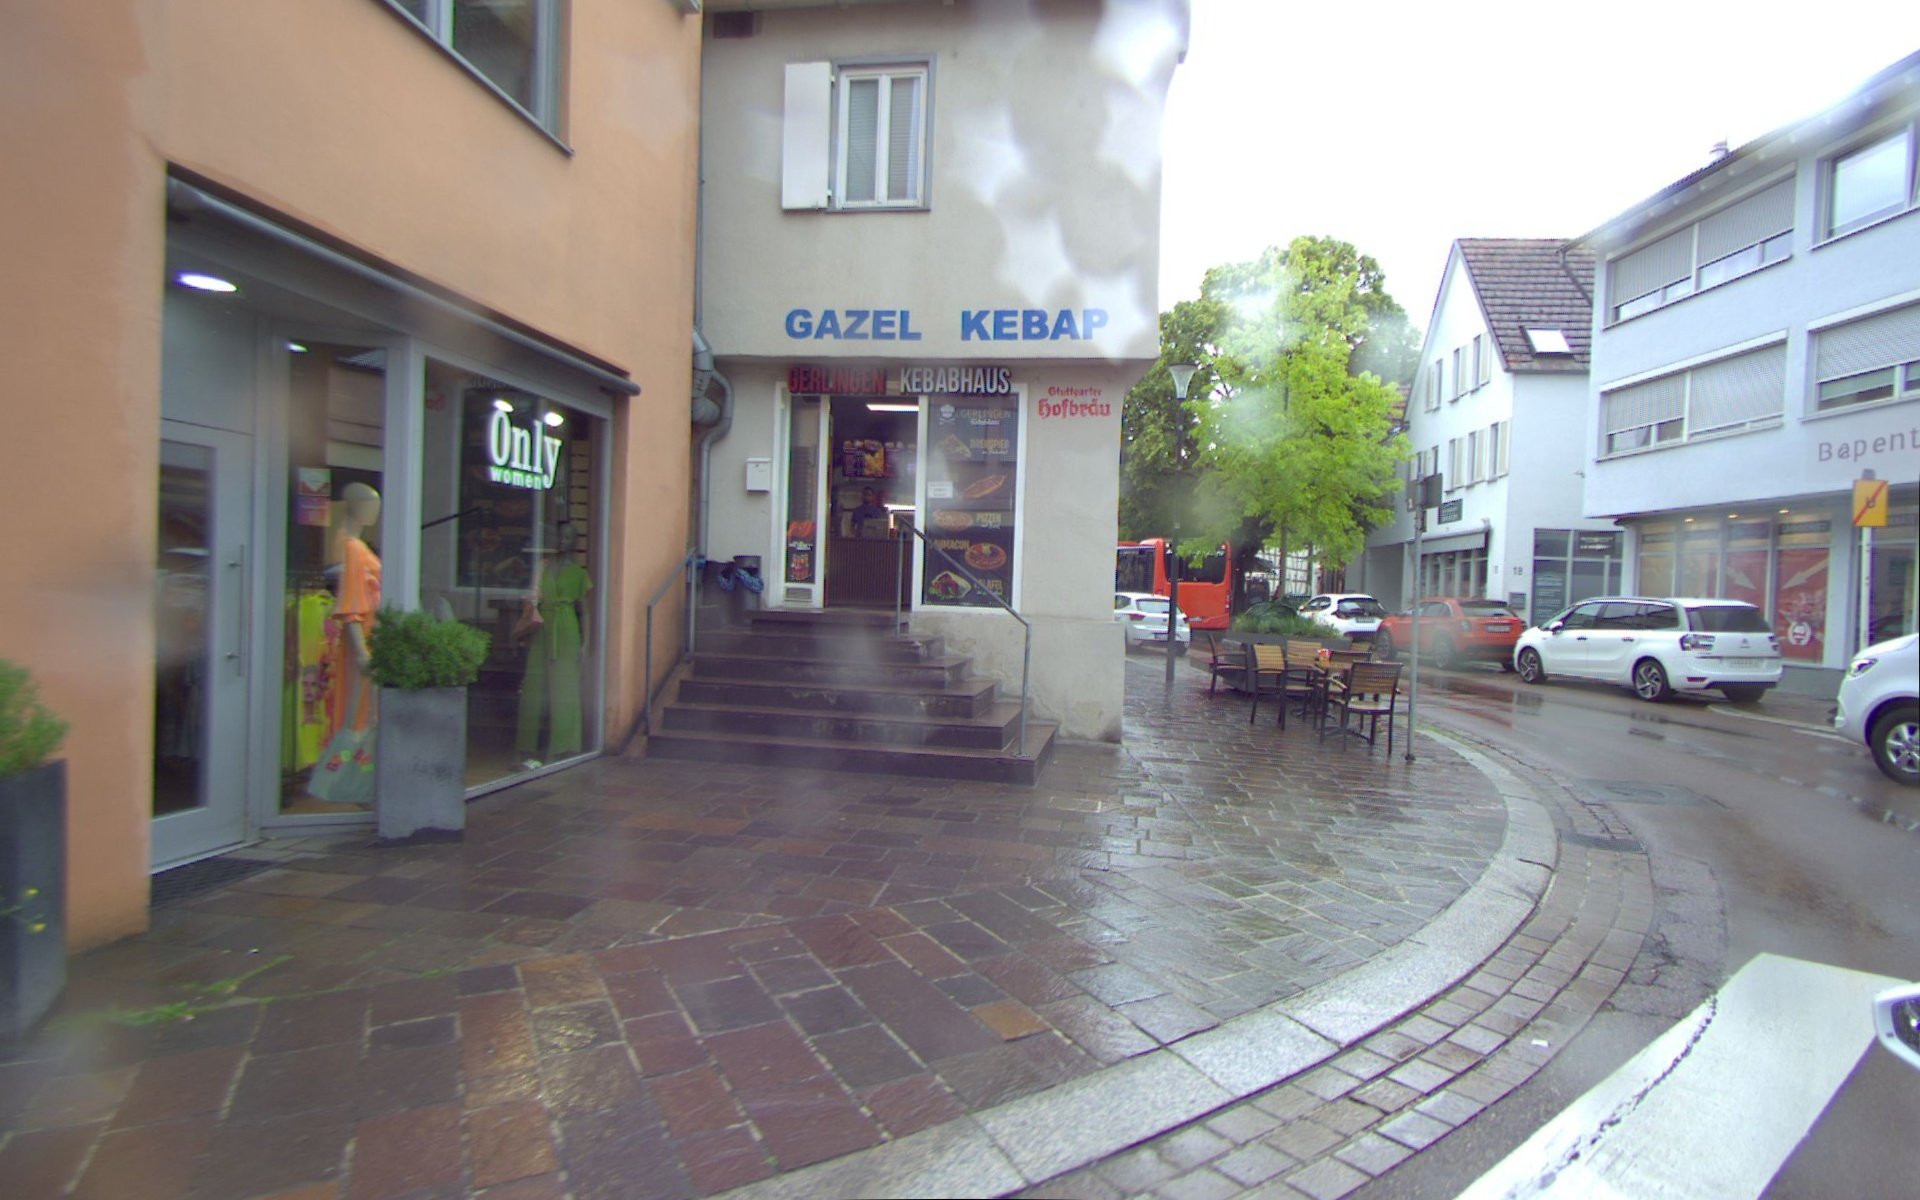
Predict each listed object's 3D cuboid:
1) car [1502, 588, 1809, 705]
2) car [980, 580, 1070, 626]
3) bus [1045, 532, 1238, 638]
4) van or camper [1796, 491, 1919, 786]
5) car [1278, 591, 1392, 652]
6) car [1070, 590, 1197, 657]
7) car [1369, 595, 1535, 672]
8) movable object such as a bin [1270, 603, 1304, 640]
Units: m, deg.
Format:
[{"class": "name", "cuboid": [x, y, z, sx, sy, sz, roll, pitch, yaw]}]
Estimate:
[{"class": "car", "cuboid": [11.572, 0.672, 17.185, 1.748, 1.653, 4.463, 2, 1, -7]}, {"class": "car", "cuboid": [2.279, 0.075, 36.508, 1.702, 1.433, 3.960, 2, 1, -22]}, {"class": "bus", "cuboid": [5.911, -0.576, 35.273, 2.773, 3.130, 10.579, 0, 1, -13]}, {"class": "van or camper", "cuboid": [10.158, 0.442, 6.890, 2.402, 2.620, 6.737, 3, 1, -10]}, {"class": "car", "cuboid": [10.556, 0.560, 28.545, 1.650, 1.549, 3.797, 1, 1, -3]}, {"class": "car", "cuboid": [4.322, 0.541, 25.672, 1.698, 1.433, 3.969, 4, 1, -14]}, {"class": "car", "cuboid": [10.969, 0.685, 22.688, 1.650, 1.549, 3.796, 1, 1, -4]}, {"class": "movable object such as a bin", "cuboid": [10.240, 0.666, 31.451, 0.821, 1.127, 0.560, 2, 0, -9]}]
